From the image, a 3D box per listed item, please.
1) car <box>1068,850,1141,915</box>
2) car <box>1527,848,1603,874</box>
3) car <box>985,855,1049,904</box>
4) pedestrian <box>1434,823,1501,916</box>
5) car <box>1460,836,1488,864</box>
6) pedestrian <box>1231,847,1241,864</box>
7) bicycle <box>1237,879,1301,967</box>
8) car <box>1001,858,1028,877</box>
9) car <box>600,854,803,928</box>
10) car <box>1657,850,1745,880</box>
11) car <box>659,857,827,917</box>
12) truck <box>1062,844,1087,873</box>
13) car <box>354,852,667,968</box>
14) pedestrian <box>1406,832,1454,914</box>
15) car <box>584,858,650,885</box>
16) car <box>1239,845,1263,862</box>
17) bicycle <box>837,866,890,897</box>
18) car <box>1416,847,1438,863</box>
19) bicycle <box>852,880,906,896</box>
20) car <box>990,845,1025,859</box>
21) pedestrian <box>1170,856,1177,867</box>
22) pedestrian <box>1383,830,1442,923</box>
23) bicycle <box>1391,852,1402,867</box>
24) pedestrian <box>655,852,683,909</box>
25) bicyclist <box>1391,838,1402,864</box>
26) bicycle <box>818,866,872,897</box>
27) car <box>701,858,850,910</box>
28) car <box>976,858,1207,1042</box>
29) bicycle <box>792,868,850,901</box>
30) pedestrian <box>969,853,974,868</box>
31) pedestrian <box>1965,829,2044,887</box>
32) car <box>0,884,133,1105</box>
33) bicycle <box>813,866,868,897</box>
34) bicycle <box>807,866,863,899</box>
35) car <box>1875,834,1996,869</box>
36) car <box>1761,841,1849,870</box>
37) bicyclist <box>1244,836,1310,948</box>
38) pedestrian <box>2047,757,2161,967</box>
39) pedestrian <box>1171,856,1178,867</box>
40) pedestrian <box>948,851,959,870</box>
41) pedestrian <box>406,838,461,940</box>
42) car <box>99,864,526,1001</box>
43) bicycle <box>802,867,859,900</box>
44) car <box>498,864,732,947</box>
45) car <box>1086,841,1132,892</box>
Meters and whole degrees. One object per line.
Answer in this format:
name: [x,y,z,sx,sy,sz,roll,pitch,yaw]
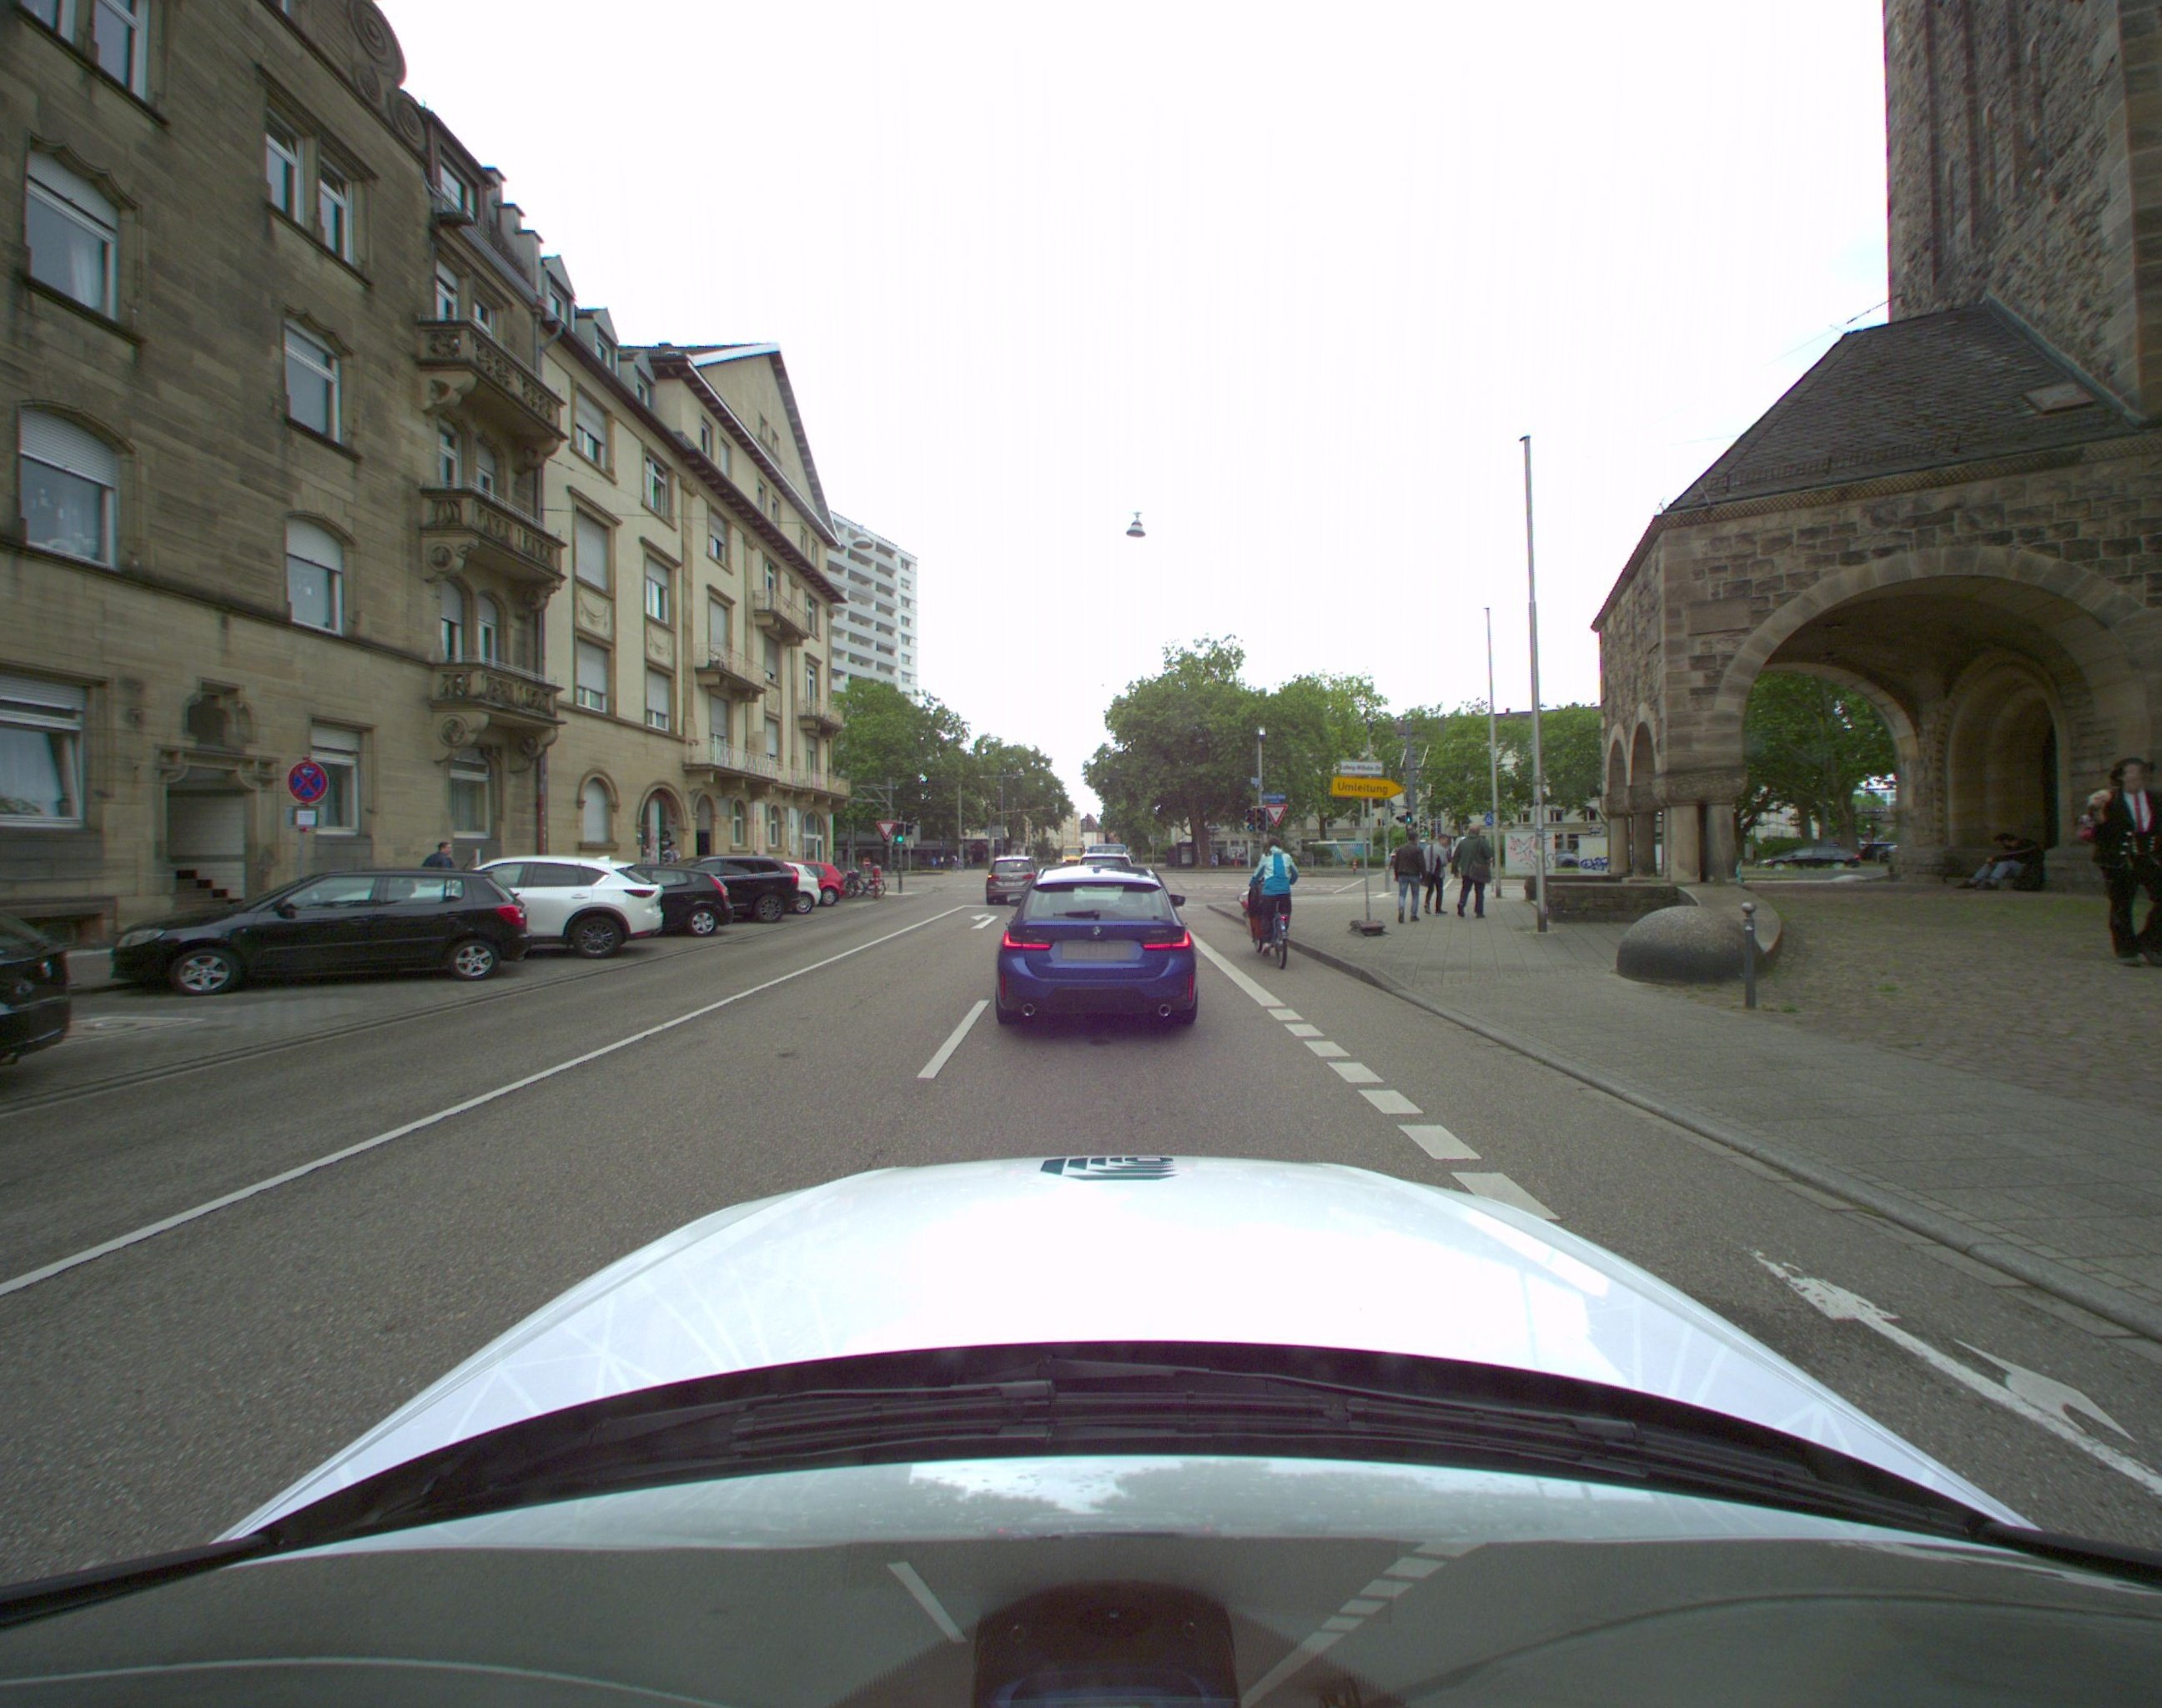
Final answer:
car: [0.662,0.704,22.421,1.808,1.592,4.002,-1,0,2]
car: [30.496,0.451,51.448,3.940,1.561,1.697,-1,-1,24]
car: [-2.105,0.814,27.739,1.726,1.525,4.002,-1,0,2]
pedestrian: [7.637,0.296,16.148,0.801,1.758,0.969,-3,0,1]
car: [39.215,-0.392,81.227,2.214,2.639,5.480,-1,0,28]
pedestrian: [15.448,0.158,81.297,0.781,1.743,0.925,-1,-1,0]
bicycle: [2.712,0.952,11.926,0.492,1.098,2.139,-1,0,2]
car: [-5.150,1.023,63.180,1.643,1.447,3.512,-1,0,2]
car: [-9.262,0.829,20.094,4.248,1.652,1.711,0,-1,-41]
car: [37.070,0.672,48.787,3.901,1.711,1.697,-1,-1,24]
car: [-9.354,0.890,22.708,4.021,1.472,1.546,2,0,-41]
truck: [-0.517,0.348,72.528,2.068,2.408,5.461,-2,0,0]
car: [-9.299,0.838,13.729,4.004,1.723,1.827,0,-1,-23]
pedestrian: [7.396,0.391,17.314,0.629,1.673,0.971,-3,0,8]
car: [-14.841,0.560,26.124,0.910,0.834,2.015,0,-1,1]
car: [22.378,-0.057,107.042,2.154,2.200,4.023,-1,0,26]
bicycle: [-8.597,1.087,32.225,1.880,1.035,0.442,5,0,-1]
car: [33.907,0.070,79.807,1.649,1.515,3.962,-1,0,28]
bicycle: [-8.233,1.380,33.255,1.880,0.445,1.029,5,1,-1]
car: [-9.545,-0.247,105.696,4.014,1.706,1.980,0,-1,-32]
pedestrian: [11.792,0.919,103.507,0.814,1.372,0.763,-1,-1,1]
pedestrian: [6.364,0.421,15.658,0.672,1.686,0.969,-3,0,2]
bicycle: [20.765,0.342,53.514,0.546,0.995,2.072,-1,0,24]
pedestrian: [-13.088,0.838,25.876,0.564,1.785,0.551,-1,0,3]
bicyclist: [20.749,-0.209,53.494,0.608,1.654,0.758,-1,-1,23]
bicycle: [-9.177,1.058,31.691,1.880,1.035,0.442,5,0,-1]
car: [-9.512,0.883,25.570,1.663,1.472,4.024,1,0,43]
car: [0.154,0.775,8.639,1.808,1.405,4.322,-1,0,2]
bicycle: [-9.282,1.073,29.042,1.877,1.035,0.443,4,0,4]
pedestrian: [-13.336,0.769,98.976,0.571,1.771,0.513,-1,0,-11]
pedestrian: [15.488,0.072,13.672,0.665,0.951,0.618,-1,0,24]
car: [-9.142,0.925,4.987,4.016,1.417,1.644,1,-1,-34]
bicycle: [-9.161,1.039,31.055,1.880,1.035,0.442,5,0,-1]
bicycle: [-9.164,1.058,30.392,1.880,1.035,0.442,5,0,-1]
car: [55.571,-0.140,53.108,5.025,2.096,2.004,-1,-1,24]
car: [41.434,0.119,46.699,3.425,1.561,1.697,-1,-1,24]
bicyclist: [2.783,0.516,11.654,0.683,1.518,1.059,-1,0,2]
pedestrian: [9.719,0.033,7.404,0.806,1.808,1.026,-1,3,22]
pedestrian: [11.778,0.940,102.560,0.850,1.314,0.763,-1,-1,1]
pedestrian: [-11.695,0.598,74.572,0.668,1.771,0.730,-1,0,43]
pedestrian: [-12.786,0.681,16.091,0.616,1.958,0.551,-1,0,3]
car: [-9.662,0.901,10.700,3.829,1.497,1.552,1,-1,-37]
bicycle: [-9.166,1.074,29.856,1.880,1.035,0.442,5,0,-1]
car: [-9.506,0.962,16.749,4.017,1.494,1.713,0,-1,-36]
car: [1.197,0.515,34.701,1.808,2.005,4.002,-1,0,2]
